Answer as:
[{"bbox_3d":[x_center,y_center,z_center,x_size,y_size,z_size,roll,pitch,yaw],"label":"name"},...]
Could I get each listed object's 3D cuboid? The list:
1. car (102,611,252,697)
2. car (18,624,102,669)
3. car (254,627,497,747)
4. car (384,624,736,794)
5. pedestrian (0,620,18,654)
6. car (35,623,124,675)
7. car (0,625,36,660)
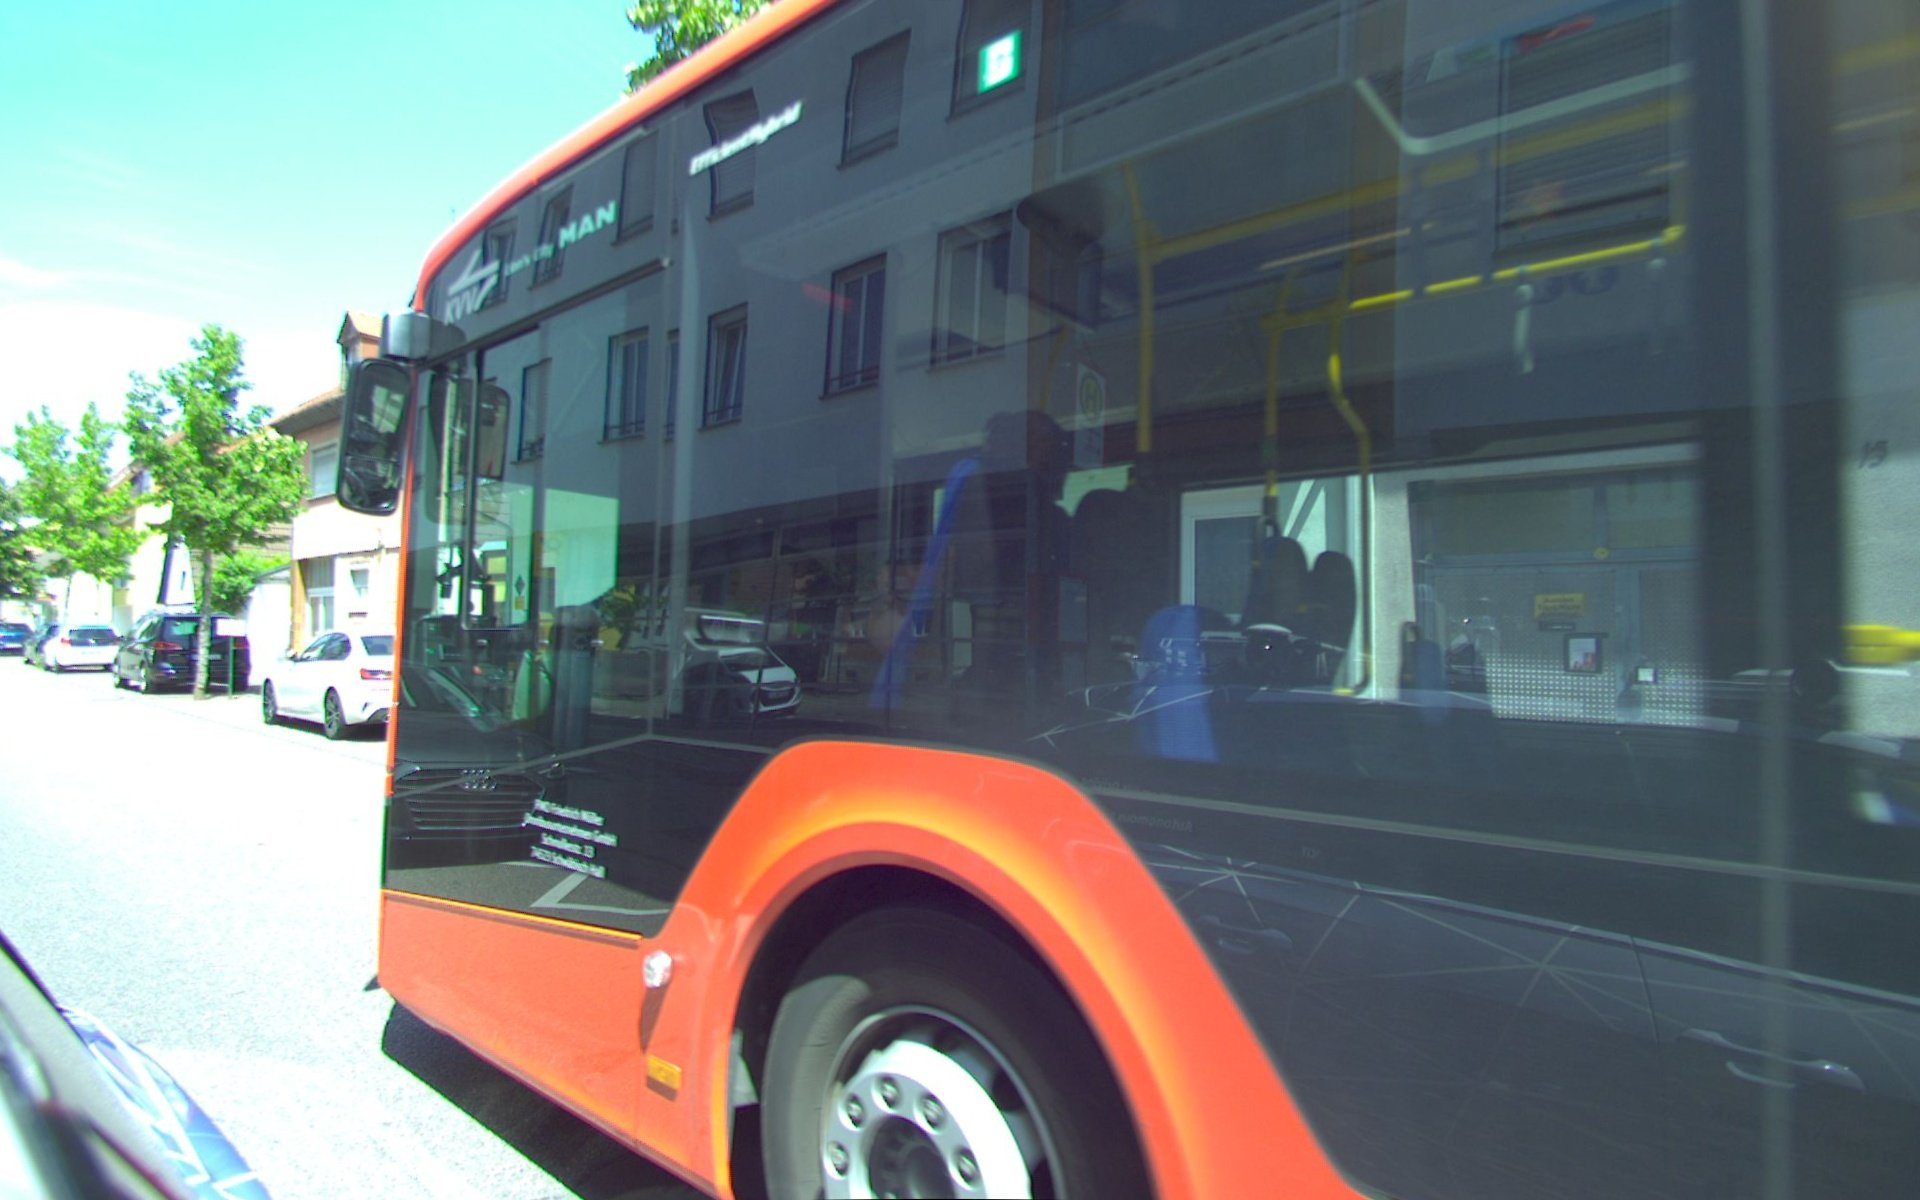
[{"bbox_3d":[-17.446,1.153,22.469,4.517,1.739,1.757,-1,-3,41],"label":"car"},{"bbox_3d":[-30.707,1.570,34.493,4.097,1.441,1.628,-1,-4,42],"label":"car"},{"bbox_3d":[-8.422,1.113,14.403,4.458,1.448,1.701,-1,-2,42],"label":"car"},{"bbox_3d":[-4.404,0.988,10.752,4.537,1.448,1.643,-1,-3,42],"label":"car"},{"bbox_3d":[-46.141,1.801,49.046,0.528,1.614,0.623,-1,-3,42],"label":"pedestrian"},{"bbox_3d":[-26.261,1.442,30.155,3.409,1.441,1.537,-1,-3,42],"label":"car"},{"bbox_3d":[-40.453,1.769,42.750,4.156,1.418,1.638,-1,-3,42],"label":"car"}]
